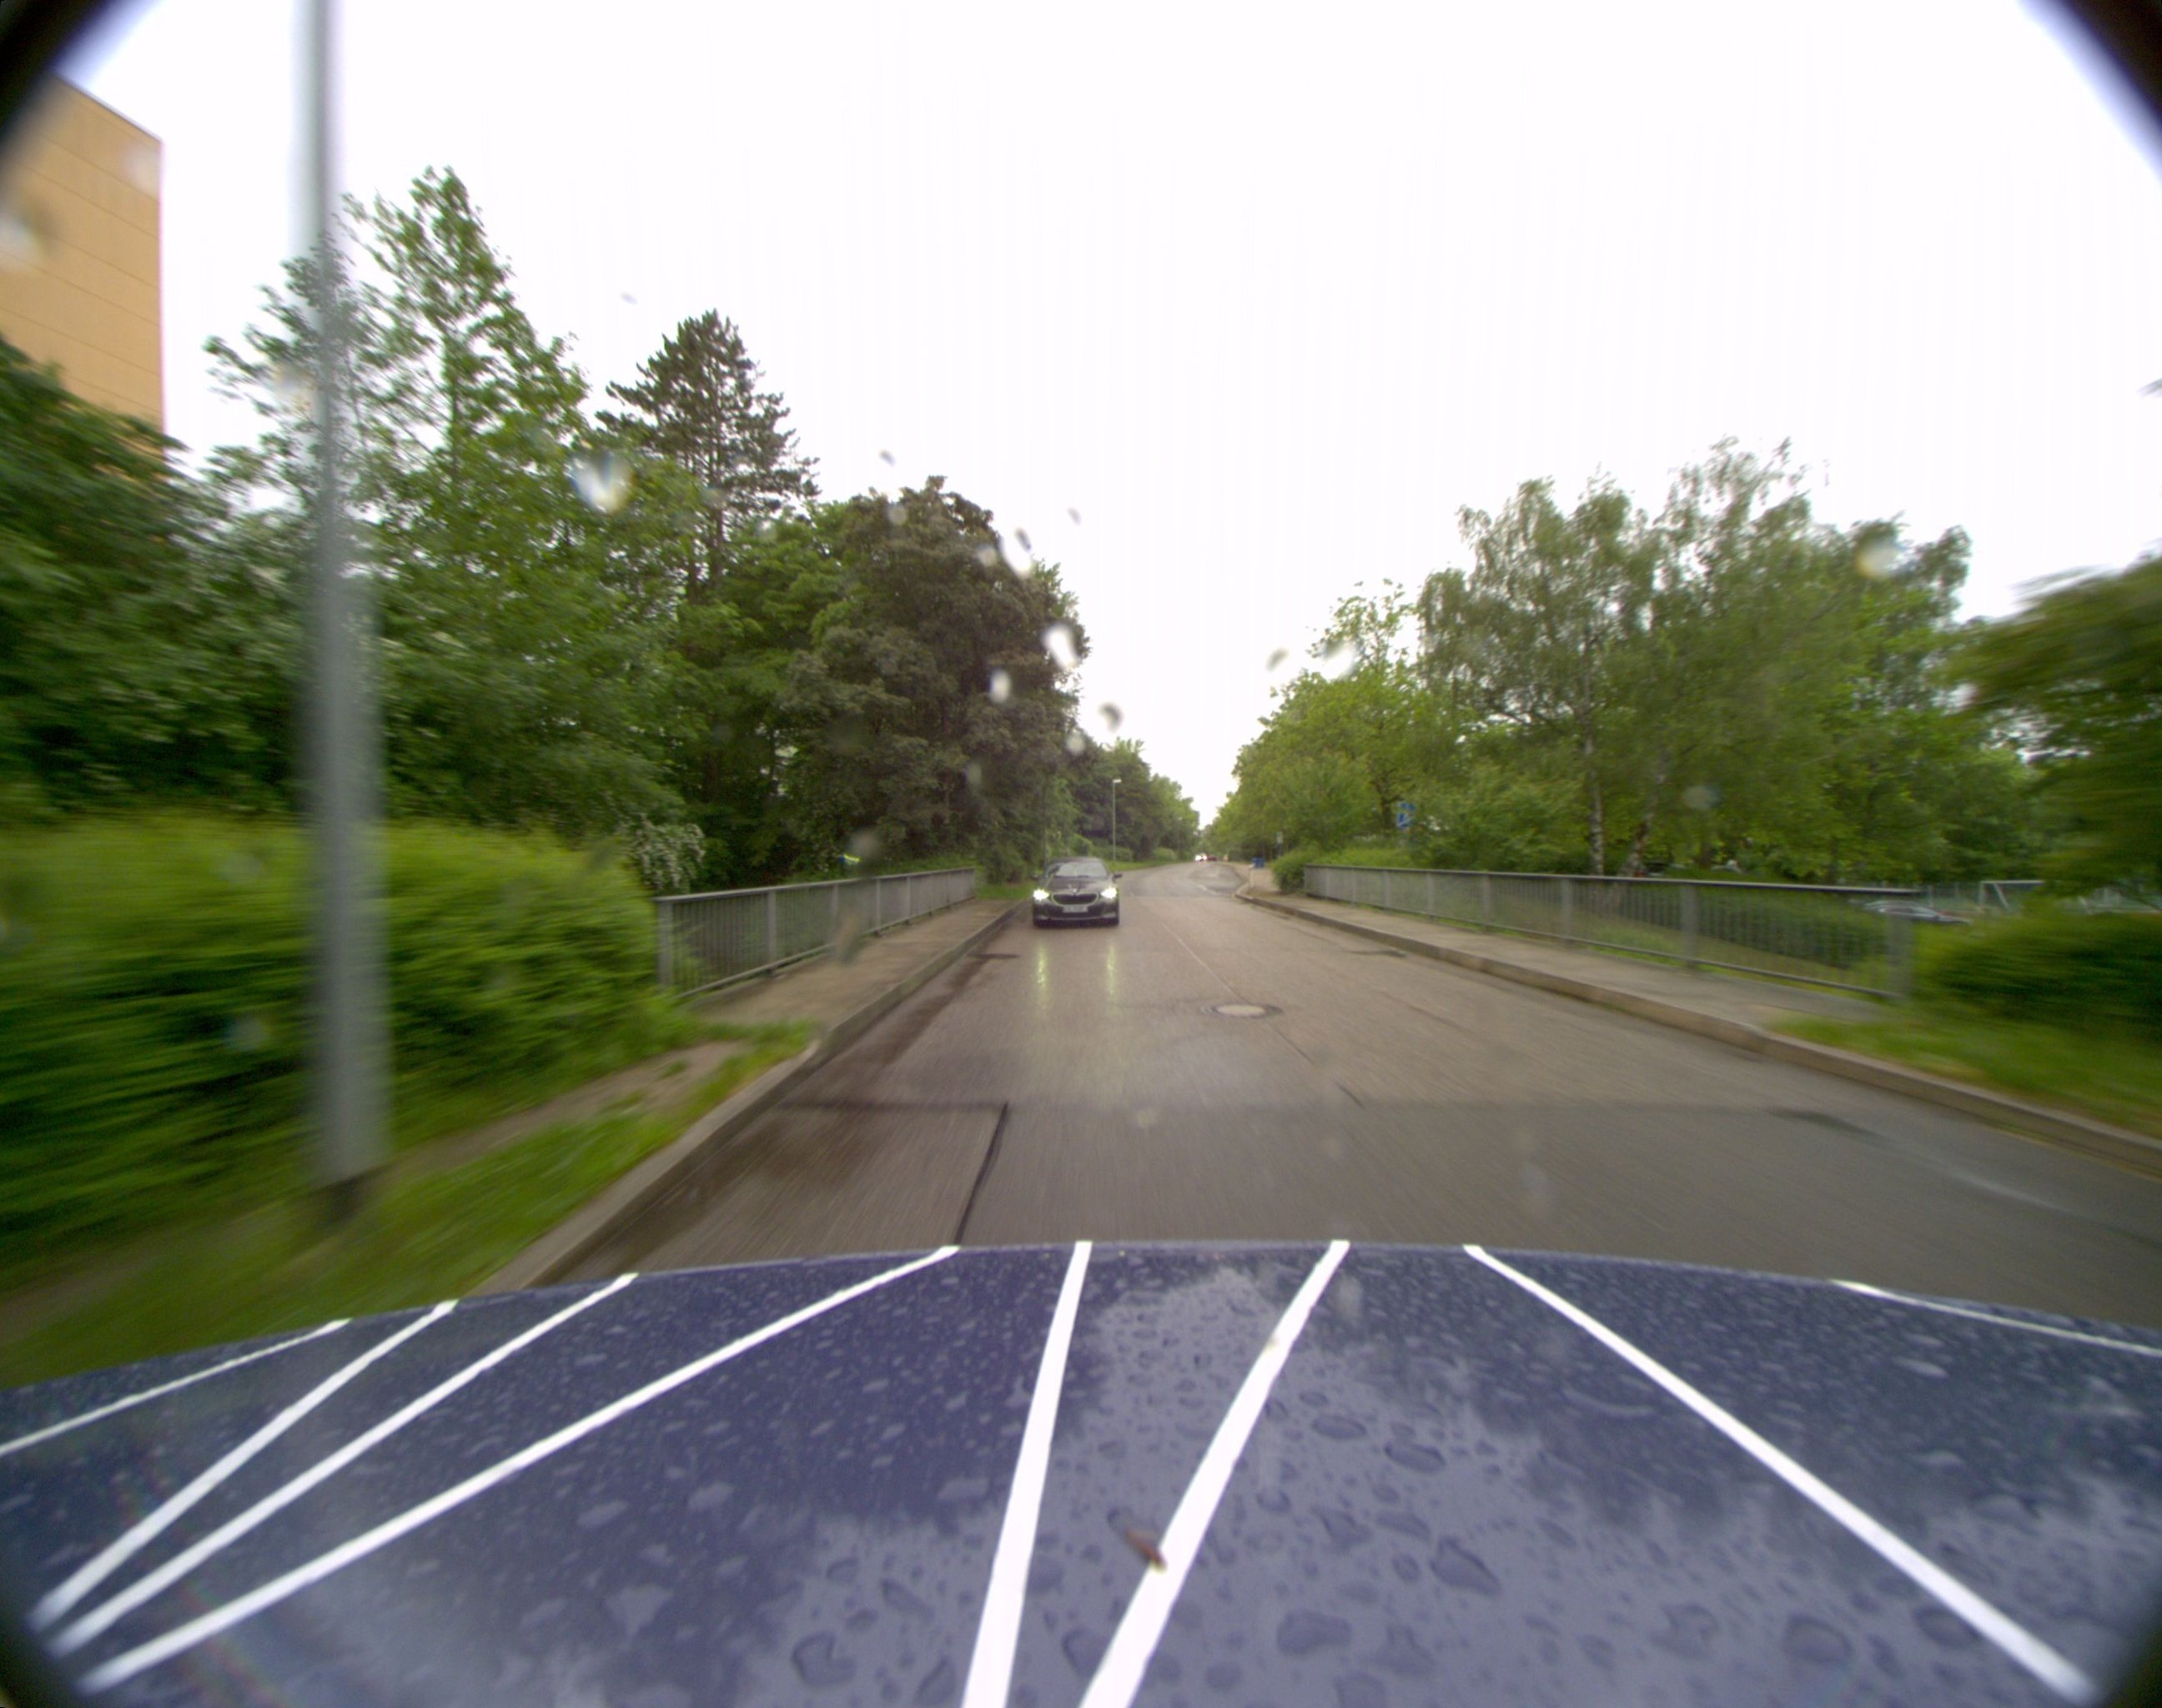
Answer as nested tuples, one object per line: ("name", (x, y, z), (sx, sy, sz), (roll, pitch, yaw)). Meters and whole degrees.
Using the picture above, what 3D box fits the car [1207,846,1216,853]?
("car", (28.263, -1.009, 164.371), (1.829, 1.456, 4.003), (1, 1, 12))

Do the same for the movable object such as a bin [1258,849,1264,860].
("movable object such as a bin", (18.884, 0.028, 79.522), (0.567, 1.092, 0.672), (-3, 1, 13))

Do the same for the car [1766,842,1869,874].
("car", (50.214, 0.258, 51.946), (2.354, 2.002, 4.893), (-2, 0, 2))

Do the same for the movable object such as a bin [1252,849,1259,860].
("movable object such as a bin", (18.233, 0.051, 79.381), (0.567, 1.092, 0.672), (-3, 1, 13))

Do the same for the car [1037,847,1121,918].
("car", (0.035, 0.616, 19.331), (1.832, 1.499, 4.498), (-2, 1, 2))
